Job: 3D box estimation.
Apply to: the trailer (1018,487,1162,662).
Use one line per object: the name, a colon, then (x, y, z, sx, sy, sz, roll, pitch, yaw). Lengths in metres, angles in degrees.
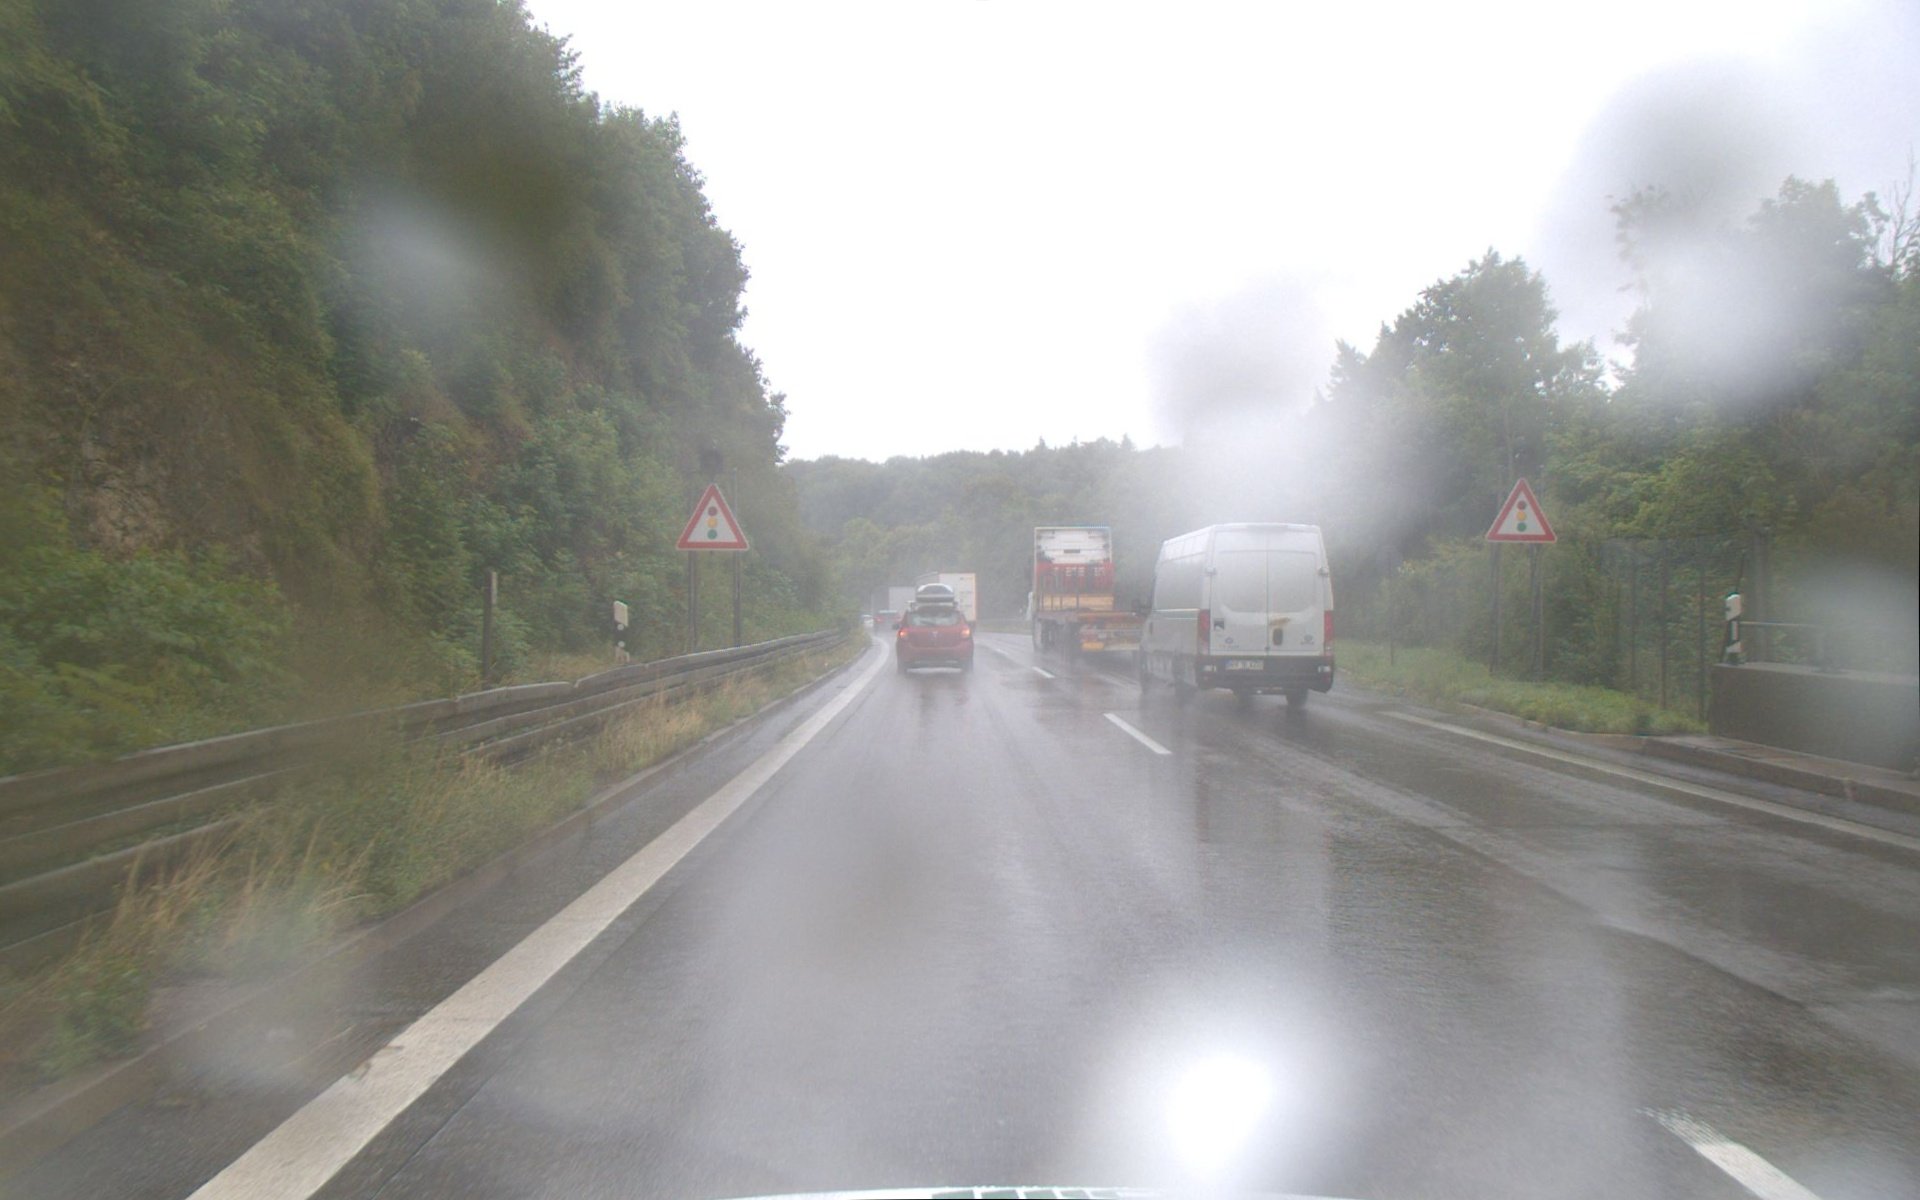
trailer: (3.296, -0.613, 45.643, 3.152, 4.069, 13.526, 1, 0, 1)

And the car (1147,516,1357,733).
car: (4.353, 0.334, 25.984, 2.160, 2.843, 7.384, 2, 0, 2)

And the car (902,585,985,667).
car: (-0.350, 0.557, 37.274, 1.722, 1.714, 4.000, -1, 0, 0)

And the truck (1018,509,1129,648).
truck: (3.441, -0.624, 51.464, 3.153, 4.047, 5.439, 1, 0, 1)

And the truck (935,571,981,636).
truck: (-0.207, 0.231, 112.913, 2.633, 4.165, 9.309, -1, 0, -3)

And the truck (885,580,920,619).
truck: (-5.171, -0.017, 149.423, 3.000, 3.369, 8.067, 1, 0, -2)
